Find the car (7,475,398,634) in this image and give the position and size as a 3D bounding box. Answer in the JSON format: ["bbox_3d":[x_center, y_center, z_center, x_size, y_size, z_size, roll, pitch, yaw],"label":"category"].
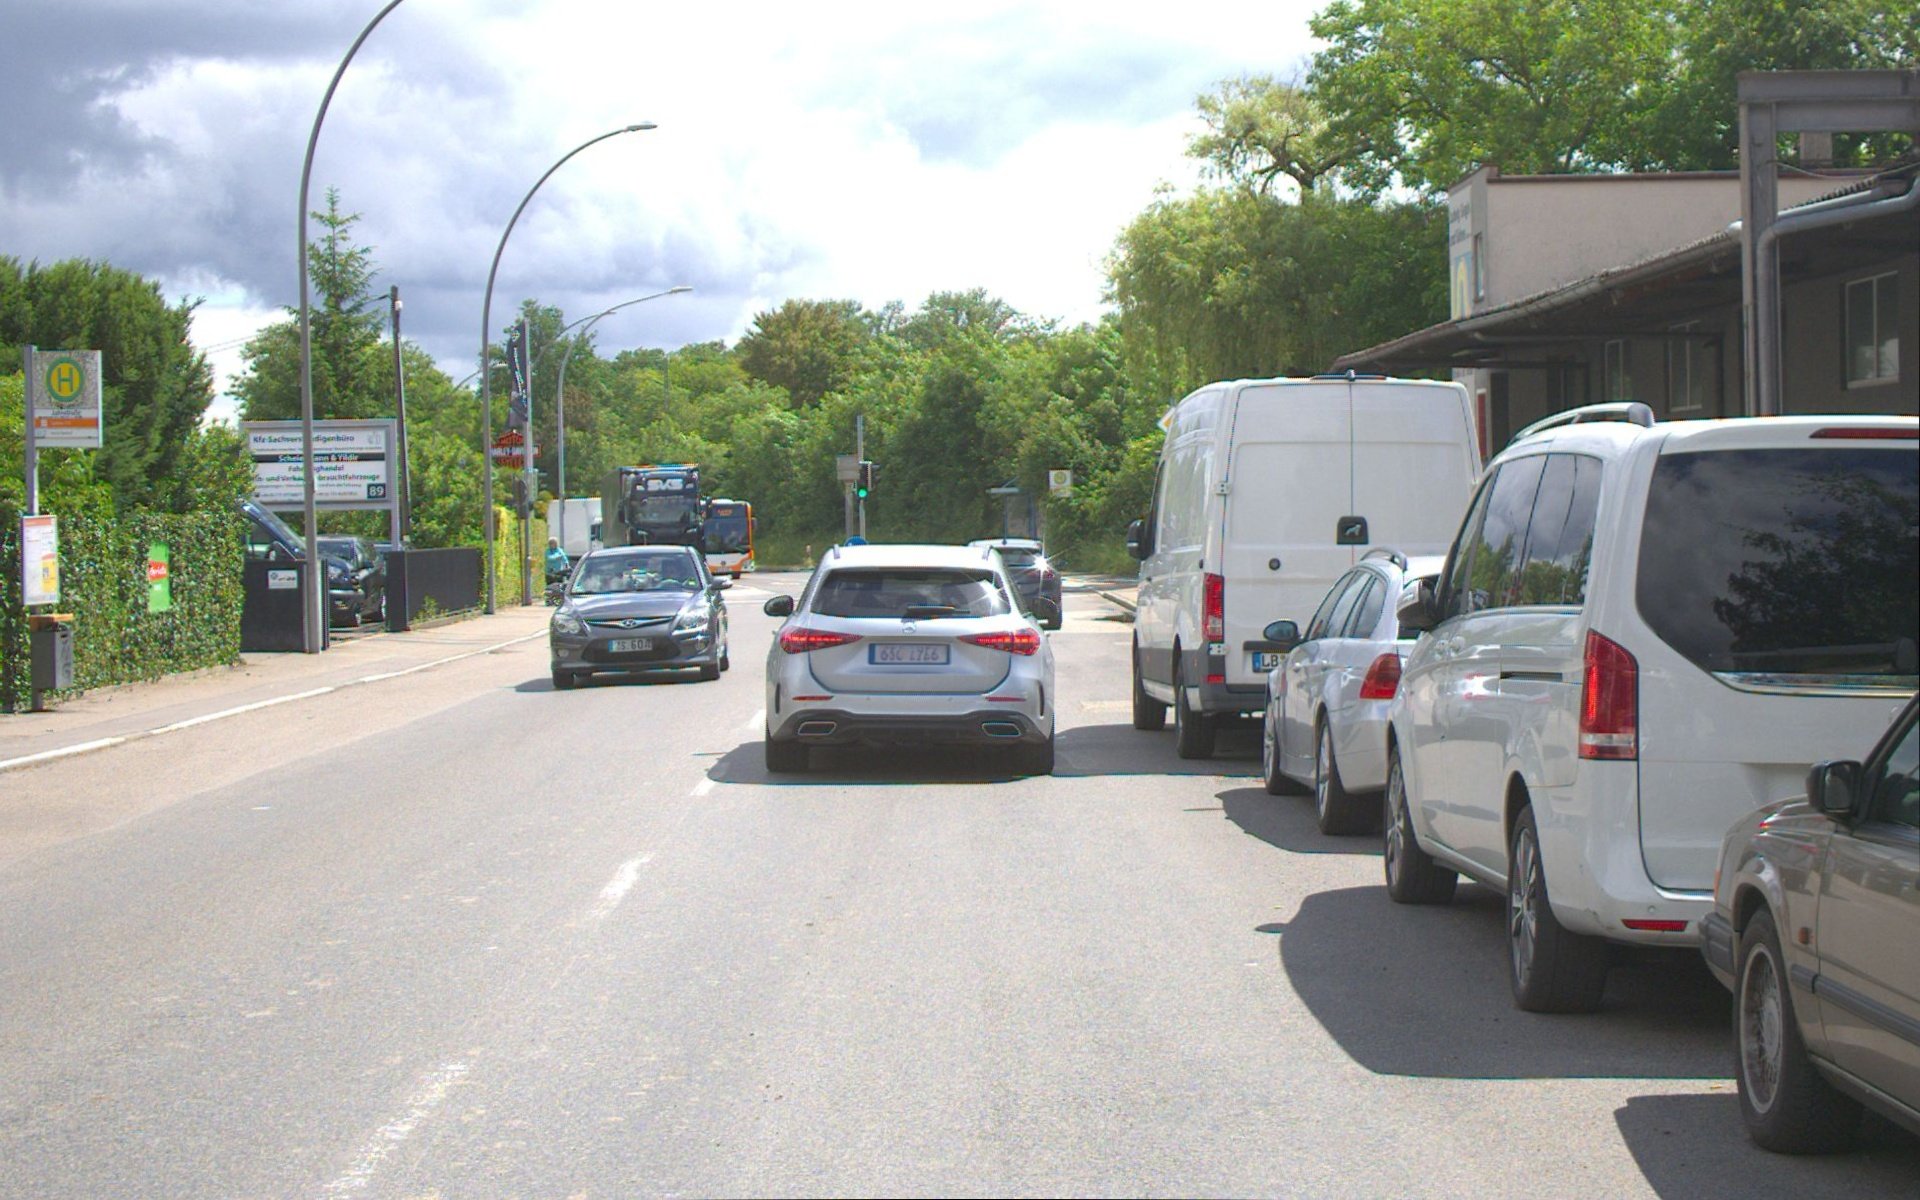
[{"bbox_3d":[-12.777,-0.779,58.304,6.037,2.488,2.477,-1,1,0],"label":"car"}]

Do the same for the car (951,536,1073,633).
[{"bbox_3d":[0.816,-0.282,55.909,1.884,1.503,4.000,-1,1,0],"label":"car"}]

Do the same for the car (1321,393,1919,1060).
[{"bbox_3d":[2.630,0.312,12.440,1.905,1.879,5.390,1,1,-2],"label":"car"}]

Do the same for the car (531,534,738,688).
[{"bbox_3d":[-3.470,0.074,37.356,1.900,1.512,4.319,-2,1,-1],"label":"car"}]

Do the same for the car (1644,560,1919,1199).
[{"bbox_3d":[2.777,0.675,6.928,1.754,1.445,4.994,1,1,0],"label":"car"}]

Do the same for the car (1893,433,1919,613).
[{"bbox_3d":[11.155,-0.789,34.876,1.993,1.903,4.853,-1,2,-1],"label":"car"}]

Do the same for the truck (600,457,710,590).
[{"bbox_3d":[-10.016,-2.437,112.041,2.428,4.117,9.153,1,0,-12],"label":"truck"}]

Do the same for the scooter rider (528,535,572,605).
[{"bbox_3d":[-9.466,-0.691,79.434,0.878,1.584,0.796,-1,1,0],"label":"scooter rider"}]

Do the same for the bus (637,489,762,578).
[{"bbox_3d":[-10.388,-2.570,135.967,2.777,3.255,12.127,-2,1,-14],"label":"bus"}]

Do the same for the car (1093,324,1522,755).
[{"bbox_3d":[2.349,-0.448,25.263,2.215,2.680,6.658,-2,1,-2],"label":"car"}]

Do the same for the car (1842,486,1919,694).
[{"bbox_3d":[7.731,-0.073,24.104,1.764,1.484,4.927,-1,2,-1],"label":"car"}]

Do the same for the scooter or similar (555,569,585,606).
[{"bbox_3d":[-8.945,-0.294,78.948,0.611,0.829,0.659,1,1,0],"label":"scooter or similar"}]

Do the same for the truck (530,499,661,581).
[{"bbox_3d":[-16.535,-2.668,155.166,2.839,3.528,9.726,-2,1,-25],"label":"truck"}]

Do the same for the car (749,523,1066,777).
[{"bbox_3d":[-0.320,0.264,22.627,1.885,1.503,4.000,-1,1,0],"label":"car"}]

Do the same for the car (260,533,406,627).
[{"bbox_3d":[-11.314,-0.384,62.277,2.031,1.589,4.285,-1,1,-3],"label":"car"}]
